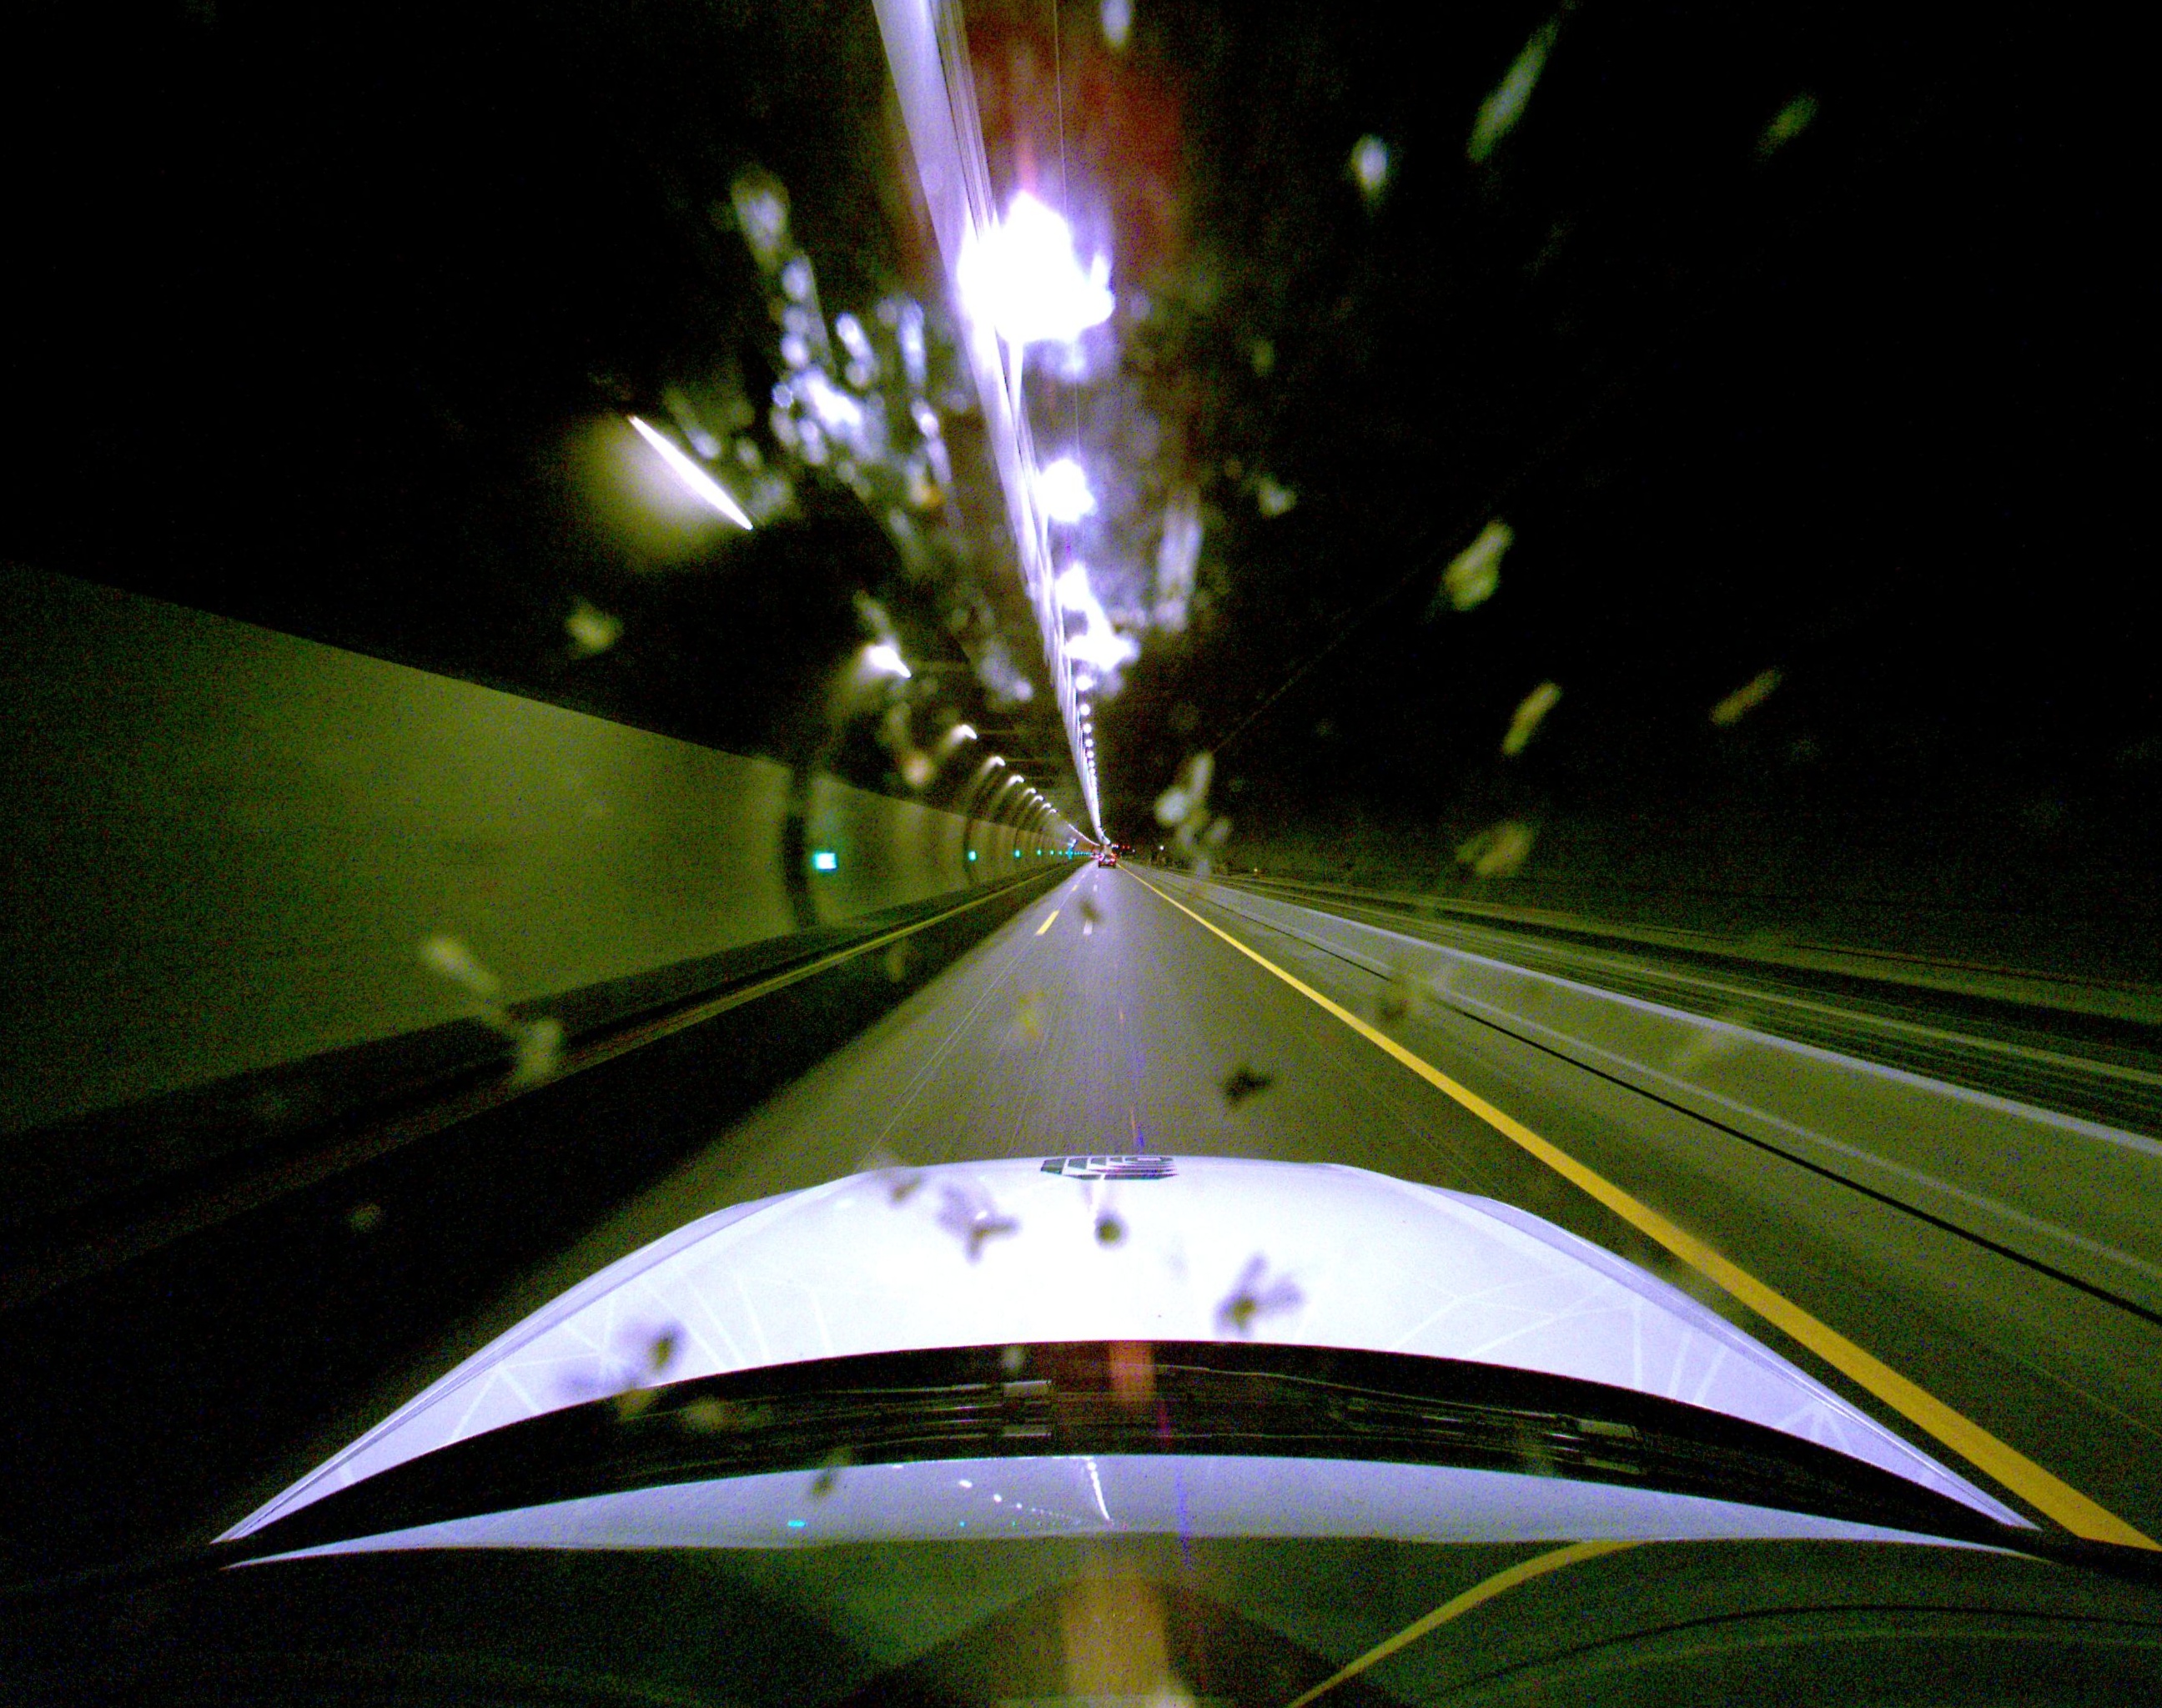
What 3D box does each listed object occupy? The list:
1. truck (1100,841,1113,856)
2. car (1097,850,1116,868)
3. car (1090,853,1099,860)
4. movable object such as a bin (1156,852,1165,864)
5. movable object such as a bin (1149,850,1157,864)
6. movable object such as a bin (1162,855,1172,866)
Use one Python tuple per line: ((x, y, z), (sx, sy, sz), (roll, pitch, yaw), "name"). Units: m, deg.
((8.235, -1.789, 266.373), (4.051, 4.532, 14.970), (0, 0, 2), "truck")
((2.685, 0.537, 86.567), (1.940, 1.794, 4.000), (-1, 0, 0), "car")
((3.248, 0.535, 196.314), (1.923, 1.687, 4.001), (-1, 0, 1), "car")
((12.071, 0.560, 123.988), (1.230, 1.718, 2.217), (1, 0, 1), "movable object such as a bin")
((11.562, 0.460, 130.965), (1.230, 2.141, 2.217), (1, 0, 1), "movable object such as a bin")
((11.896, 0.864, 112.665), (1.230, 1.442, 2.217), (1, 0, 1), "movable object such as a bin")
